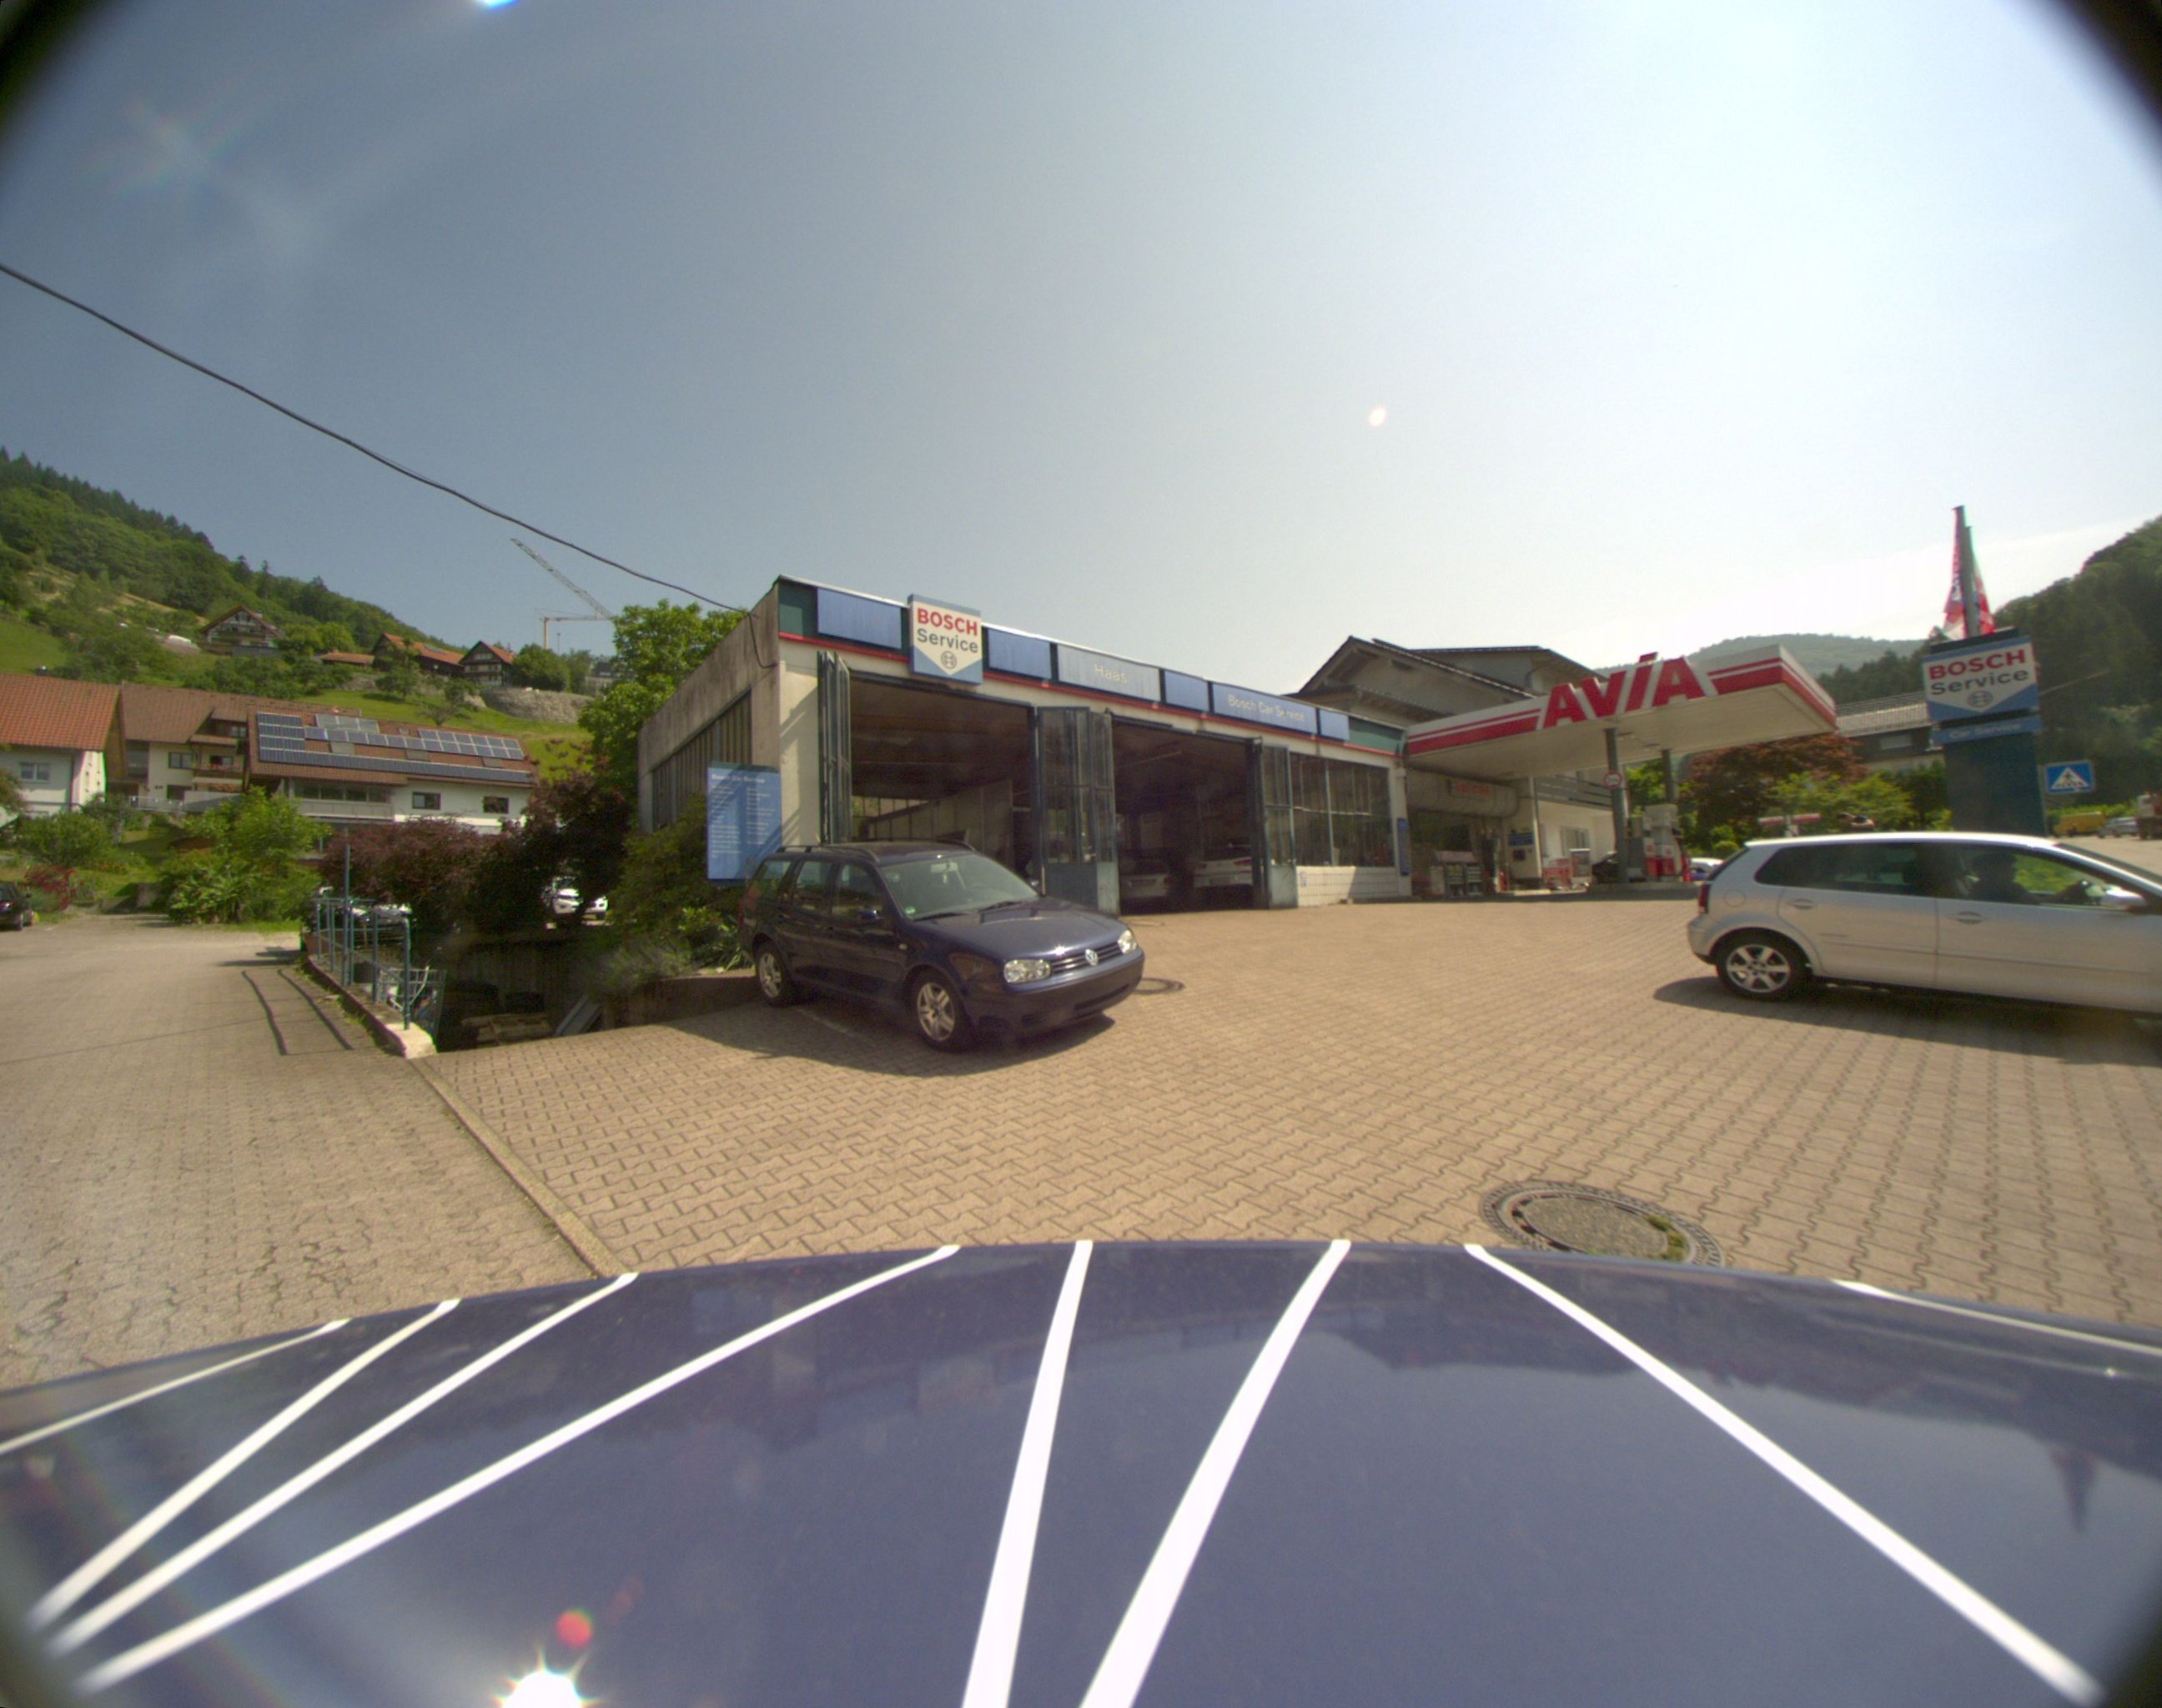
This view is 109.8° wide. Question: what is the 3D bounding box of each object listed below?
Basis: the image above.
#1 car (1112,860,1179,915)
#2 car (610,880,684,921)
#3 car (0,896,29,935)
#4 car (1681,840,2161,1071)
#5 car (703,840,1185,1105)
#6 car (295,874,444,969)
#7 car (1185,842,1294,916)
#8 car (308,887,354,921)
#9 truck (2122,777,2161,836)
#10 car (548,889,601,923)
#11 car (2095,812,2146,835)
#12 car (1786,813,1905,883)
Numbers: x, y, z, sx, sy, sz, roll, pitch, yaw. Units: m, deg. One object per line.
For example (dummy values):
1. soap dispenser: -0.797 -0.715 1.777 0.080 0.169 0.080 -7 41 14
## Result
1. car: 1.909 0.988 21.712 1.546 1.397 3.483 -3 -4 10
2. car: -18.743 1.956 32.729 3.900 1.546 1.683 -1 1 44
3. car: -32.825 1.837 22.872 2.855 1.058 1.115 0 -2 40
4. car: 7.274 0.654 5.955 1.598 1.474 3.746 -3 2 -37
5. car: -1.434 0.734 6.650 4.319 1.536 1.803 -1 2 42
6. car: -15.452 1.309 16.406 4.863 1.635 2.004 -1 1 44
7. car: 4.263 0.588 19.999 1.602 1.678 3.937 -2 1 30
8. car: -33.637 2.203 34.069 3.205 1.363 1.347 -1 1 45
9. truck: 68.935 -3.073 48.318 7.787 3.560 2.646 -3 -1 -39
10. car: -21.013 2.111 31.465 1.471 1.251 3.379 1 -1 -40
11. car: 76.971 -2.289 56.321 3.605 1.565 1.783 -3 1 -43
12. car: 19.129 -0.182 18.966 3.918 1.568 1.693 -3 1 -39
